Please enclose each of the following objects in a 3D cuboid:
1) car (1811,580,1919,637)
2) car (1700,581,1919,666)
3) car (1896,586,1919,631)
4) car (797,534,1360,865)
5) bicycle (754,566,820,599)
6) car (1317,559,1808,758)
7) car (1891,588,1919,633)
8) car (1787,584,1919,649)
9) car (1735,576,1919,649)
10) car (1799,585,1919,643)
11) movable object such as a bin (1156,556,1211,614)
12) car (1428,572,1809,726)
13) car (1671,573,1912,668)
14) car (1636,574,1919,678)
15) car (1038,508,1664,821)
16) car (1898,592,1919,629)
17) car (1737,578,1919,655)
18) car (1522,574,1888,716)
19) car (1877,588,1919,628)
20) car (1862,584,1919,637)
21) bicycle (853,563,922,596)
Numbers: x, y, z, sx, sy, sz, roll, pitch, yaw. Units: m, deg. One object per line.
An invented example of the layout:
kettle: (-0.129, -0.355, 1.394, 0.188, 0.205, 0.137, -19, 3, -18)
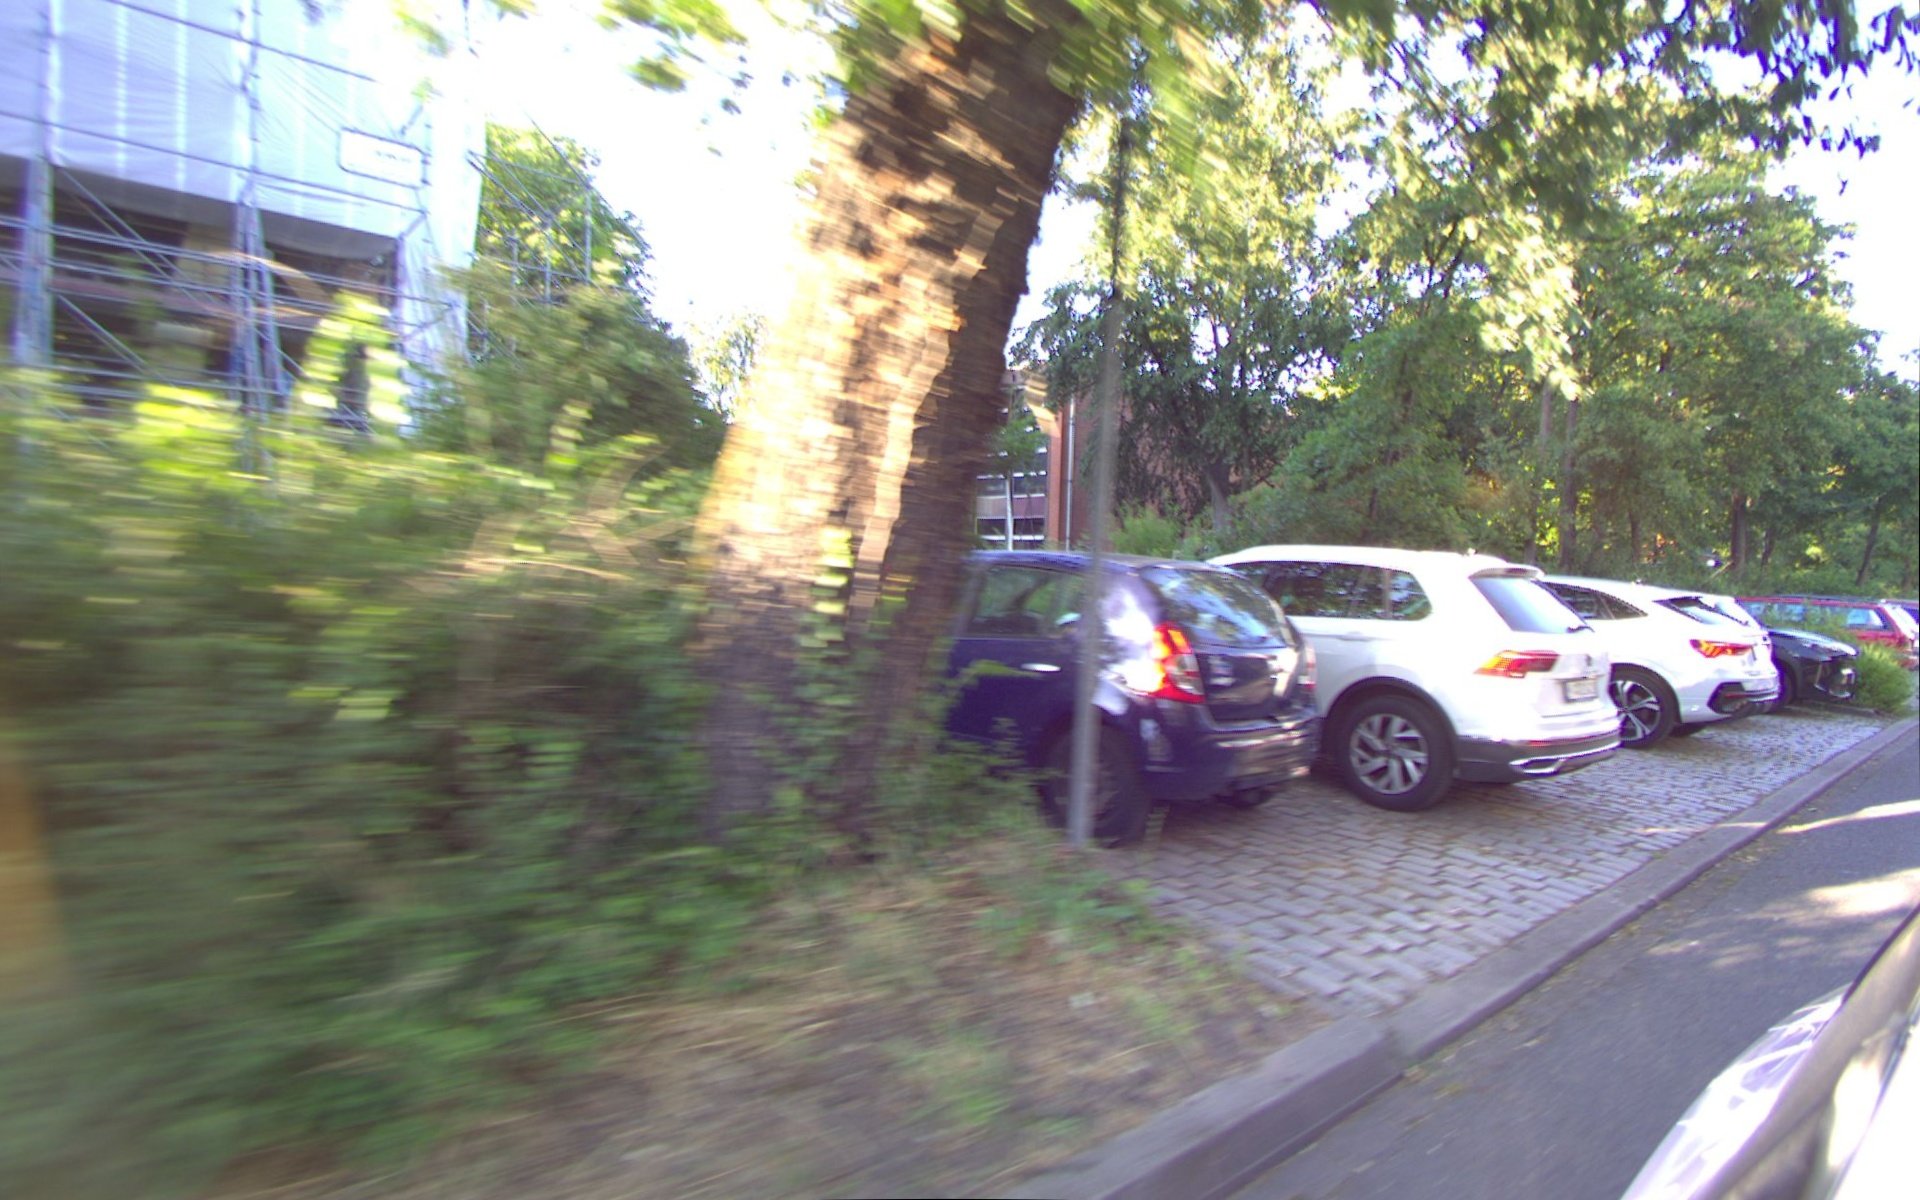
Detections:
car: (29.204, 0.283, 31.568, 1.788, 1.516, 3.736, -1, 6, -40)
car: (19.330, 0.454, 22.768, 1.799, 1.471, 3.936, 0, 5, -39)
car: (35.600, 0.436, 35.650, 1.643, 1.543, 3.618, 1, 5, -42)
car: (0.579, 0.405, 6.366, 1.657, 1.511, 3.195, 0, 2, -43)
bicycle: (-6.364, -0.647, 37.316, 2.345, 1.152, 0.648, 0, 2, -40)
car: (6.127, 0.434, 10.709, 1.692, 1.688, 4.131, 0, 1, -40)
car: (33.976, 0.512, 34.045, 1.705, 1.462, 3.674, 1, 5, -42)
car: (25.556, 0.473, 28.001, 1.725, 1.492, 3.818, 1, 5, -40)
car: (23.158, 0.273, 26.774, 1.799, 1.492, 3.818, -1, 6, -40)
car: (27.339, 0.437, 29.771, 1.725, 1.411, 3.760, -1, 6, -40)
movable object such as a bin: (5.891, -0.396, 26.682, 0.966, 1.456, 0.964, 1, 2, -38)
car: (7.995, 0.472, 12.512, 1.787, 1.586, 3.595, 0, 1, -41)
car: (17.571, 0.359, 21.497, 1.713, 1.574, 3.717, 0, 5, -44)
car: (15.905, 0.425, 19.572, 1.712, 1.493, 4.348, 2, 4, -42)
car: (2.671, 0.297, 7.835, 1.832, 1.731, 4.183, 0, 1, -36)
car: (41.672, 0.503, 42.148, 1.642, 1.559, 3.635, 1, 2, -40)
car: (21.556, 0.376, 24.422, 1.800, 1.492, 4.129, 0, 5, -42)
car: (9.970, 0.490, 13.746, 1.668, 1.614, 3.750, 0, 1, -42)
car: (39.510, 0.382, 40.889, 1.642, 1.544, 3.393, 0, 3, -40)
car: (31.693, 0.453, 32.610, 1.705, 1.571, 3.674, 1, 5, -42)
bicycle: (-2.417, -0.685, 33.796, 2.345, 1.057, 0.648, 0, 2, -40)
